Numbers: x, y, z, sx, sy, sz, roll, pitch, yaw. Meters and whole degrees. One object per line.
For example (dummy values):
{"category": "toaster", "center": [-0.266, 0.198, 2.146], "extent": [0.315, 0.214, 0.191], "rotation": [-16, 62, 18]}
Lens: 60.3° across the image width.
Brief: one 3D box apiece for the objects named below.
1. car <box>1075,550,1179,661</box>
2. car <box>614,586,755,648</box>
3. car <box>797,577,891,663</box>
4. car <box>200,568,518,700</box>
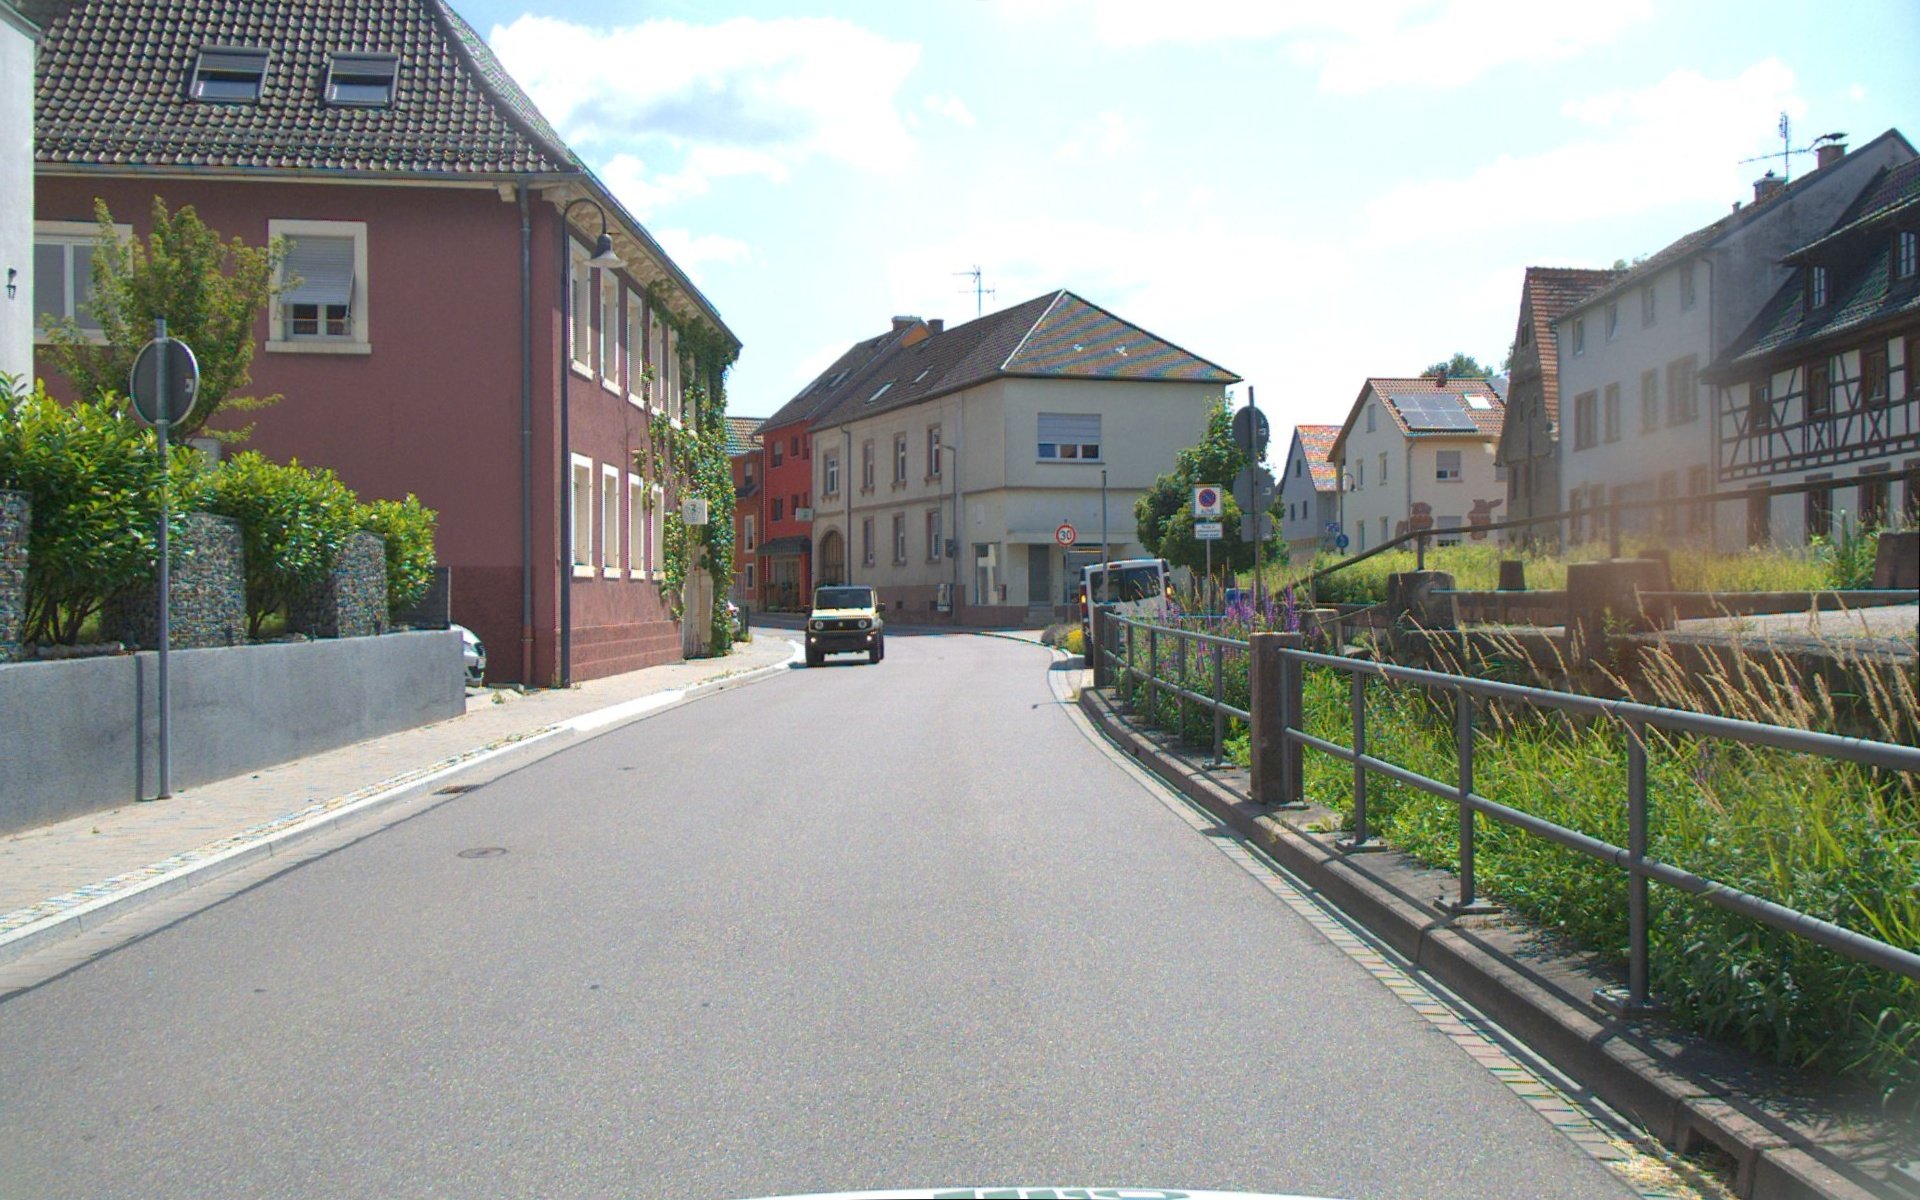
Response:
{"category": "car", "center": [3.273, 0.093, 32.918], "extent": [1.858, 2.015, 3.115], "rotation": [-3, 0, 3]}
{"category": "car", "center": [-7.885, 0.490, 47.187], "extent": [3.930, 1.557, 1.987], "rotation": [-4, -3, 43]}
{"category": "car", "center": [-2.546, 0.408, 36.903], "extent": [1.588, 1.749, 3.474], "rotation": [-3, 0, 3]}
{"category": "car", "center": [-7.832, 0.425, 21.772], "extent": [3.492, 1.430, 1.652], "rotation": [4, 0, 0]}
